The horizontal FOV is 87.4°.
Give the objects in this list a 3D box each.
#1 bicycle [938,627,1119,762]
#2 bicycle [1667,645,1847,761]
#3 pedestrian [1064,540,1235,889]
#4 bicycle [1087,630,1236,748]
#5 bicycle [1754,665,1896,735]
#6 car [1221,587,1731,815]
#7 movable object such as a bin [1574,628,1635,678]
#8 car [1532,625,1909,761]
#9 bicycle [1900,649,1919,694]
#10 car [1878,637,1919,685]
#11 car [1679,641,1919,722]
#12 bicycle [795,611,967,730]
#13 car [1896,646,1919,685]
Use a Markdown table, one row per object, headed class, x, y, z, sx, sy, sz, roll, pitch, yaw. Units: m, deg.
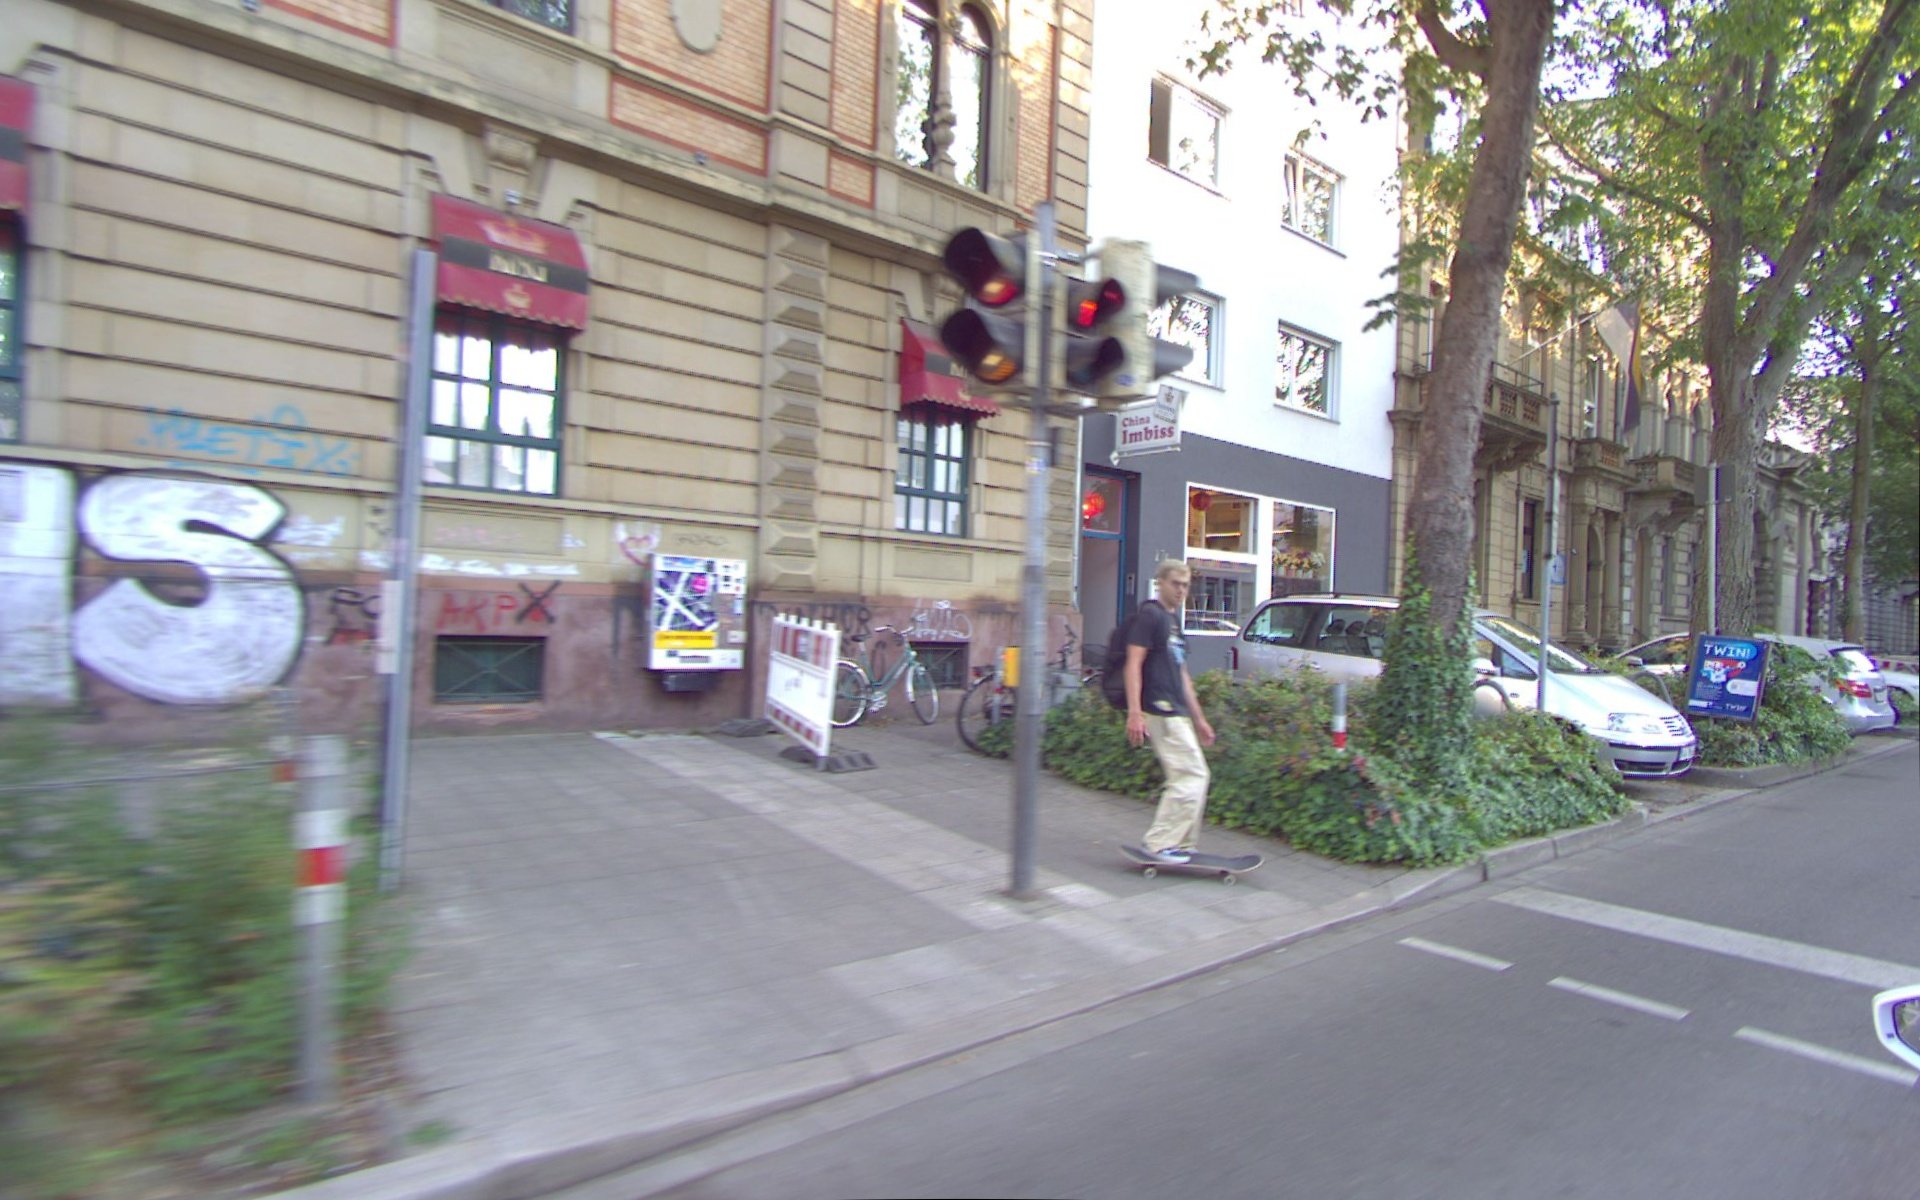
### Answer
| class | x | y | z | sx | sy | sz | roll | pitch | yaw |
| --- | --- | --- | --- | --- | --- | --- | --- | --- | --- |
| bicycle | 0.670 | 0.845 | 9.346 | 1.786 | 1.122 | 0.494 | 3 | 2 | -41 |
| bicycle | 10.610 | 1.329 | 13.419 | 0.769 | 1.344 | 1.776 | 2 | 0 | -44 |
| pedestrian | 1.095 | 0.585 | 5.703 | 0.814 | 1.801 | 0.766 | 3 | 3 | 15 |
| bicycle | 2.168 | 0.915 | 10.649 | 1.786 | 1.122 | 0.494 | 3 | 2 | -41 |
| bicycle | 15.109 | 1.721 | 17.590 | 0.593 | 1.022 | 1.780 | 3 | 0 | -38 |
| car | 5.233 | 0.860 | 10.711 | 1.876 | 1.745 | 4.386 | 3 | 1 | -41 |
| movable object such as a bin | 14.944 | 1.221 | 23.284 | 1.306 | 1.076 | 0.794 | 3 | 1 | -40 |
| car | 11.180 | 1.270 | 15.047 | 1.809 | 1.578 | 4.141 | 3 | -1 | -36 |
| bicycle | 27.703 | 2.066 | 28.252 | 0.495 | 1.248 | 1.760 | 4 | -1 | -33 |
| car | 35.996 | 2.370 | 36.225 | 1.765 | 1.618 | 3.933 | 3 | 3 | -38 |
| car | 18.744 | 1.731 | 22.035 | 1.899 | 1.409 | 4.480 | 3 | -1 | -37 |
| bicycle | -0.789 | 0.714 | 10.472 | 1.786 | 1.122 | 0.494 | 3 | 2 | -41 |
| car | 38.479 | 2.671 | 38.206 | 1.749 | 1.406 | 3.934 | 2 | 3 | -38 |
